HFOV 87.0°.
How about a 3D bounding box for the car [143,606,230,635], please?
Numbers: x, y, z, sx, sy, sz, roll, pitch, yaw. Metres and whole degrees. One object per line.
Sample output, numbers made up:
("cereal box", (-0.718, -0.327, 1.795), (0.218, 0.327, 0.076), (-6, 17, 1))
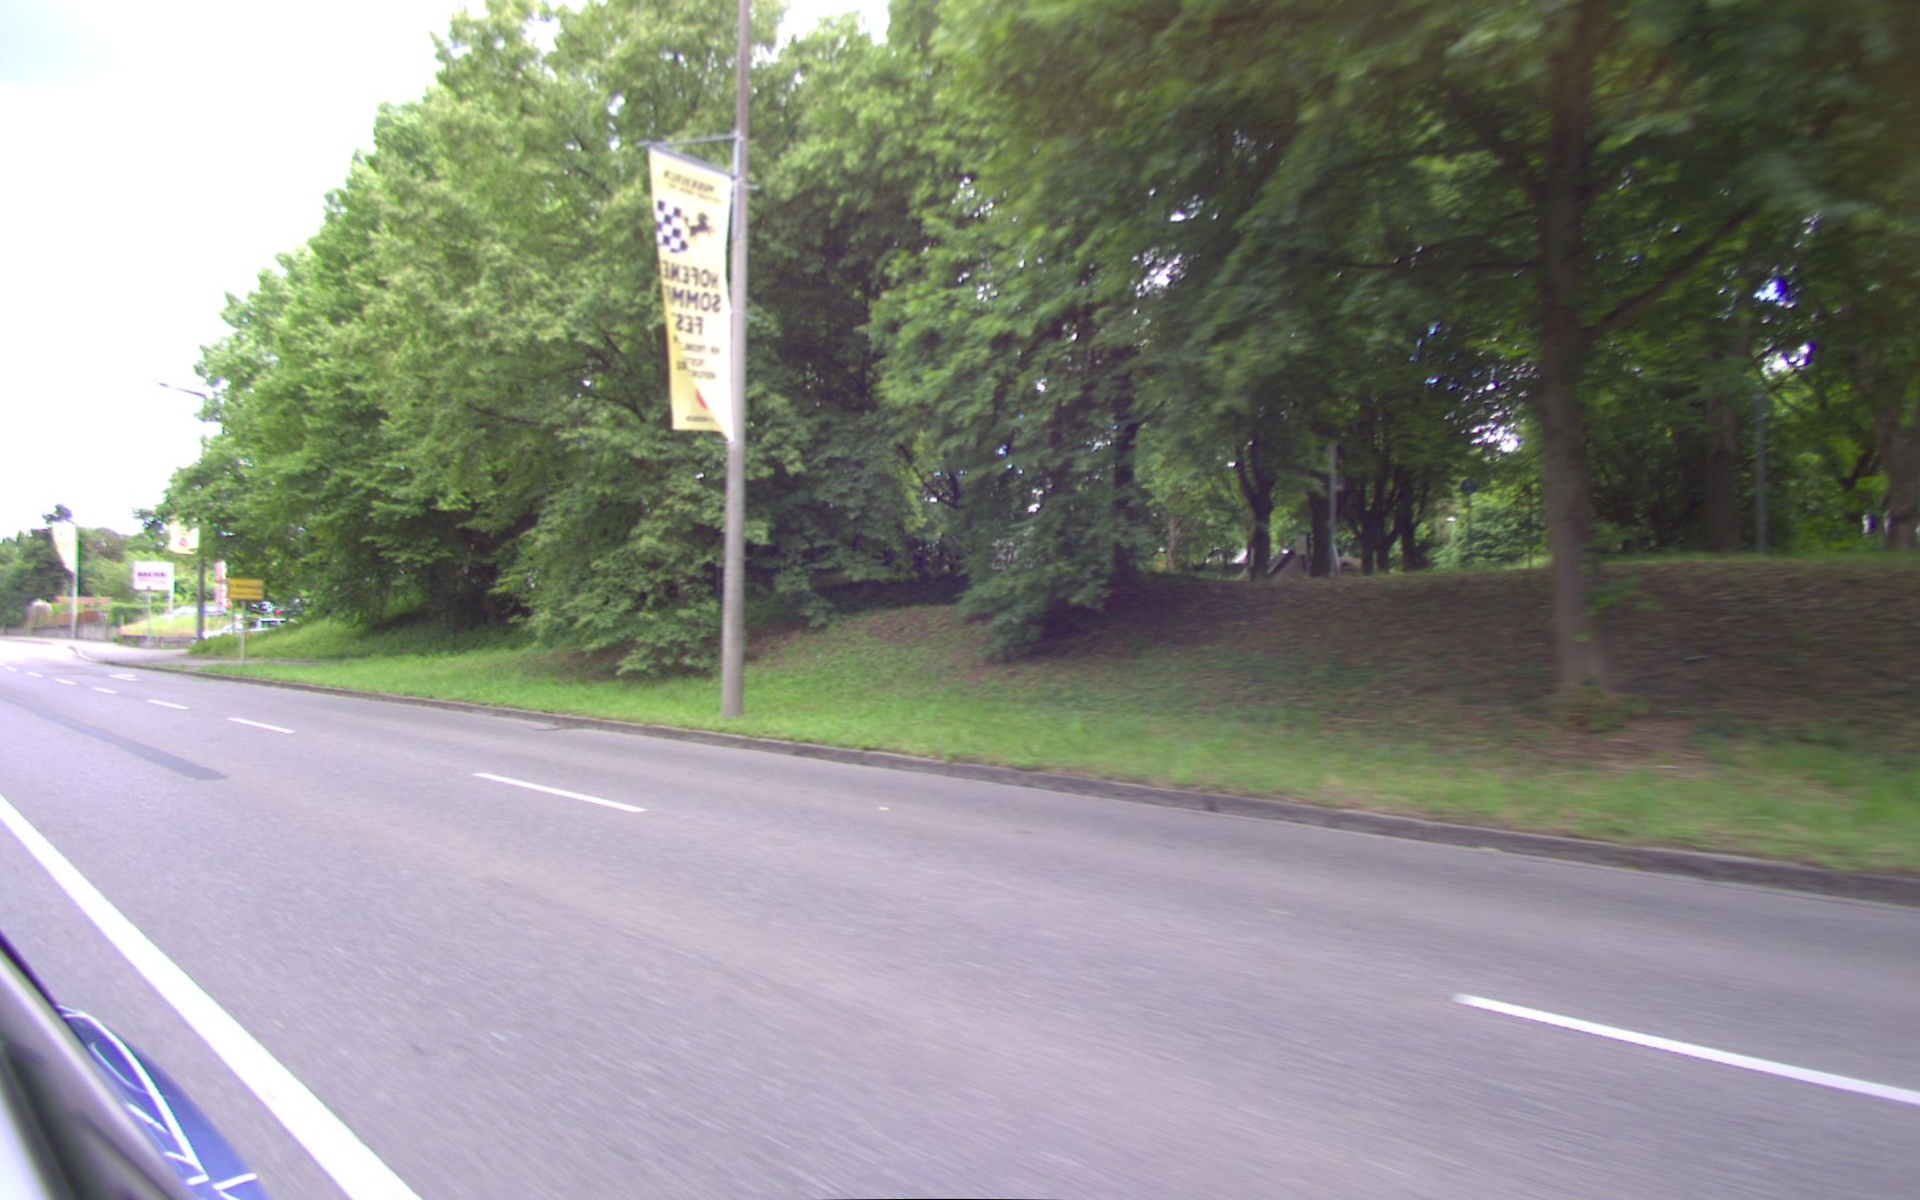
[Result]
("car", (-46.175, 1.203, 60.458), (1.878, 1.630, 3.855), (-1, 0, 41))

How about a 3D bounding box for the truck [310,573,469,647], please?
("truck", (-30.141, 0.476, 53.702), (2.657, 3.657, 6.835), (-1, 0, 41))

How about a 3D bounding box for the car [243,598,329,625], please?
("car", (-40.002, 0.676, 60.097), (1.734, 1.519, 3.946), (-1, 0, 41))

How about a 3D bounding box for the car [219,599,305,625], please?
("car", (-42.111, 0.709, 61.127), (1.734, 1.519, 3.946), (-1, 0, 41))

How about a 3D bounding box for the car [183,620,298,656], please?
("car", (-34.363, 1.807, 48.413), (1.746, 1.503, 4.169), (-3, -2, 37))
